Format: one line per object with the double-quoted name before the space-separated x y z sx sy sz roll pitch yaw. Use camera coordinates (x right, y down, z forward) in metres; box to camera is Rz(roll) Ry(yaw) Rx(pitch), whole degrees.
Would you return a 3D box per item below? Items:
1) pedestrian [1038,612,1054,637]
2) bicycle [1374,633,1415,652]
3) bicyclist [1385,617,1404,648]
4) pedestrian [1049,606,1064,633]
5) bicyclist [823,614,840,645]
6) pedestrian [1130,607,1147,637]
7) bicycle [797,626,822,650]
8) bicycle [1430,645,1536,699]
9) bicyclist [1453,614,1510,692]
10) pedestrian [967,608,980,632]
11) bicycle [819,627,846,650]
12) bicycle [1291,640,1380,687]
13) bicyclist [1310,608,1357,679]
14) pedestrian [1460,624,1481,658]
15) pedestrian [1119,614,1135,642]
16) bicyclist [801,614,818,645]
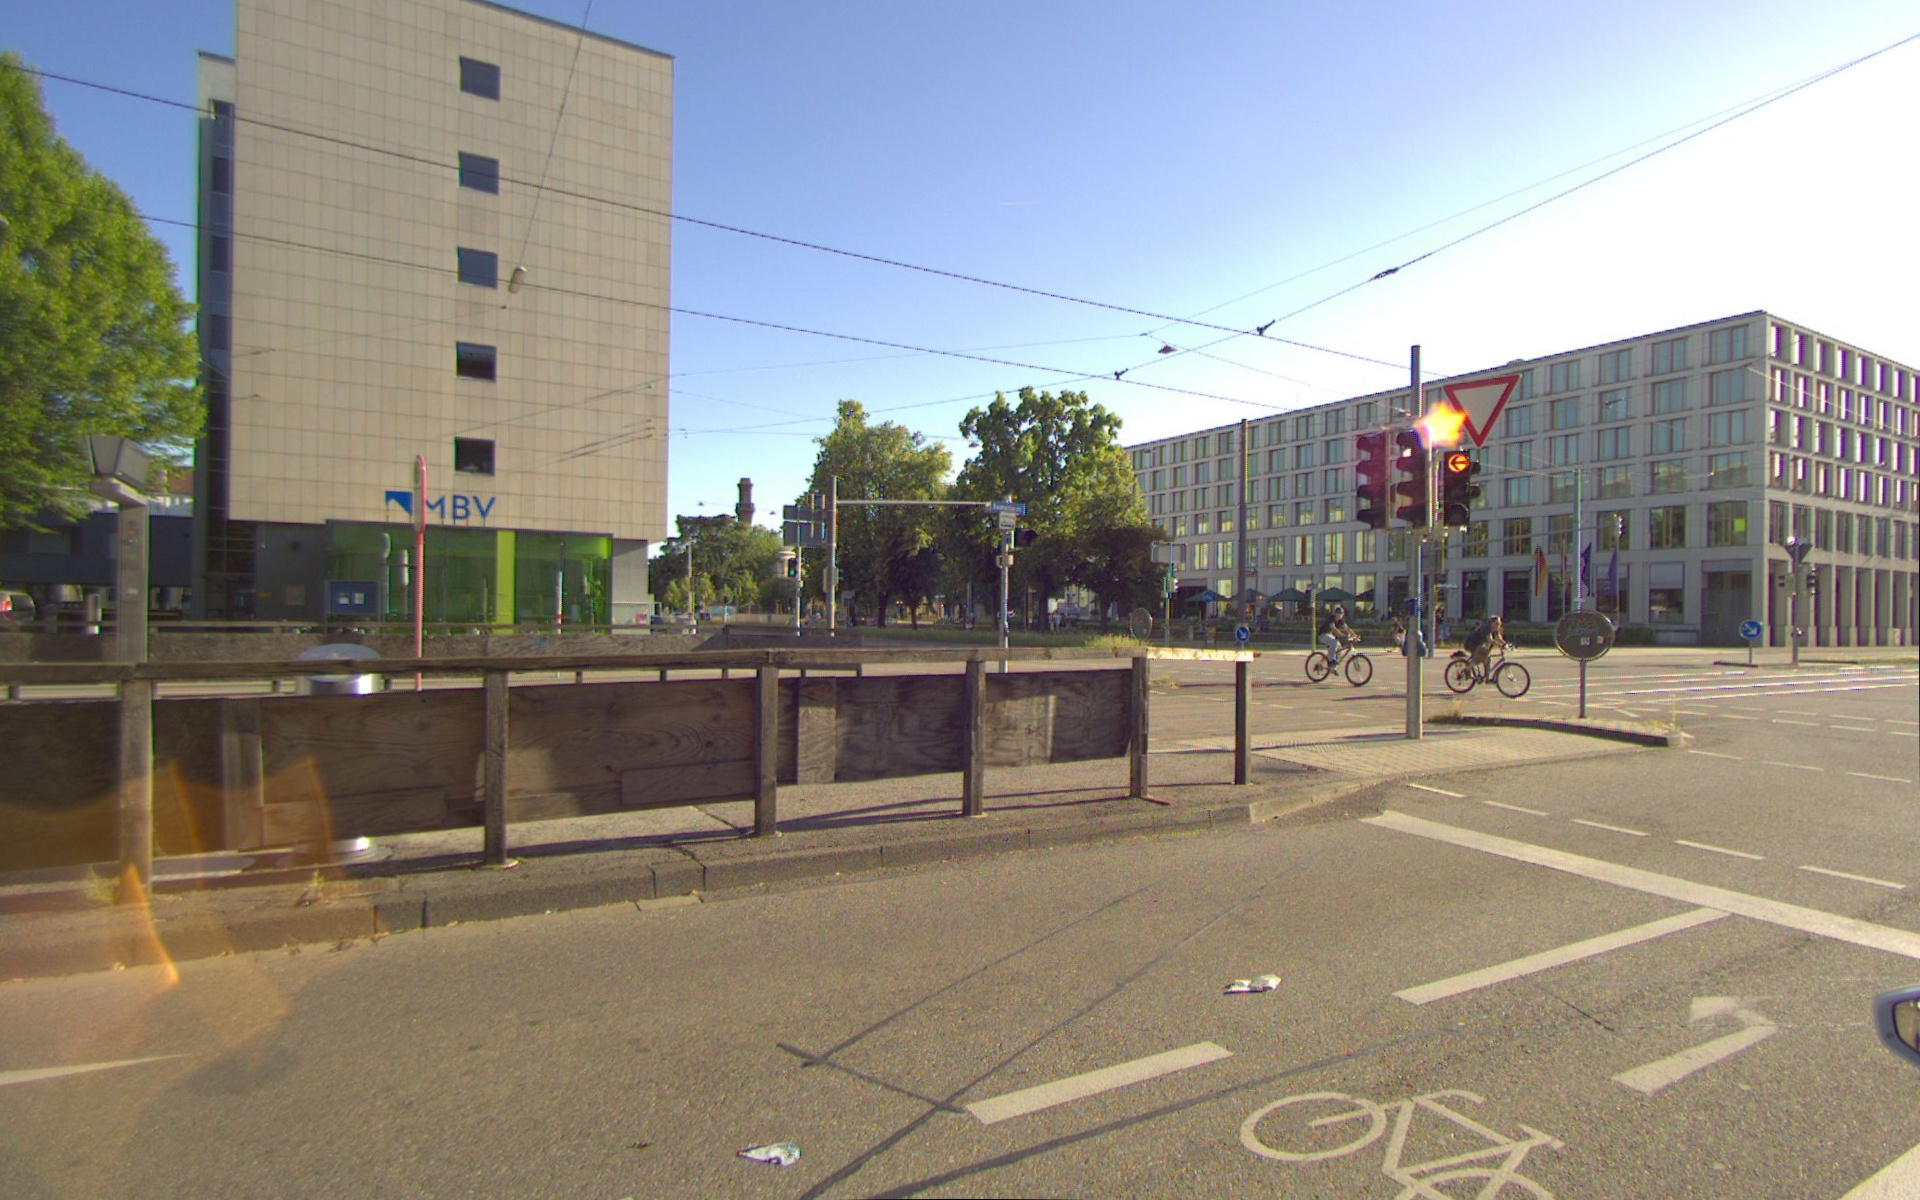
"pedestrian" 6.636 1.867 77.490 0.864 1.925 0.712 2 0 -30
"bicycle" 22.392 2.203 51.817 1.826 0.947 0.763 0 -1 13
"bicyclist" 22.420 1.671 51.824 0.762 1.610 0.762 0 -1 13
"pedestrian" 7.490 1.500 77.898 0.815 2.040 0.838 2 0 -29
"bicyclist" -6.571 1.489 51.176 0.602 1.544 0.709 1 -1 -32
"pedestrian" 12.565 1.538 70.820 0.812 2.040 0.841 2 0 -20
"bicycle" -7.582 1.899 50.533 0.574 1.148 1.776 1 -1 -31
"bicycle" 10.100 1.366 19.458 0.639 0.947 1.732 1 -1 -34
"bicyclist" 10.101 1.009 19.472 0.611 1.470 0.793 1 -1 -34
"pedestrian" 1.215 1.739 87.971 0.813 2.040 0.840 2 0 -25
"bicycle" -6.499 1.936 51.059 0.616 1.148 1.869 1 -1 -31
"bicycle" 8.219 1.368 22.051 0.554 0.947 1.846 1 -1 -34
"bicyclist" 8.201 0.946 22.088 0.600 1.544 0.758 1 -1 -34
"pedestrian" 24.918 1.992 49.058 0.586 1.610 0.768 1 -1 -41
"pedestrian" 11.693 1.983 70.355 0.861 1.925 0.715 2 0 -19
"bicyclist" -7.592 1.504 50.562 0.647 1.544 0.615 1 -1 -32
